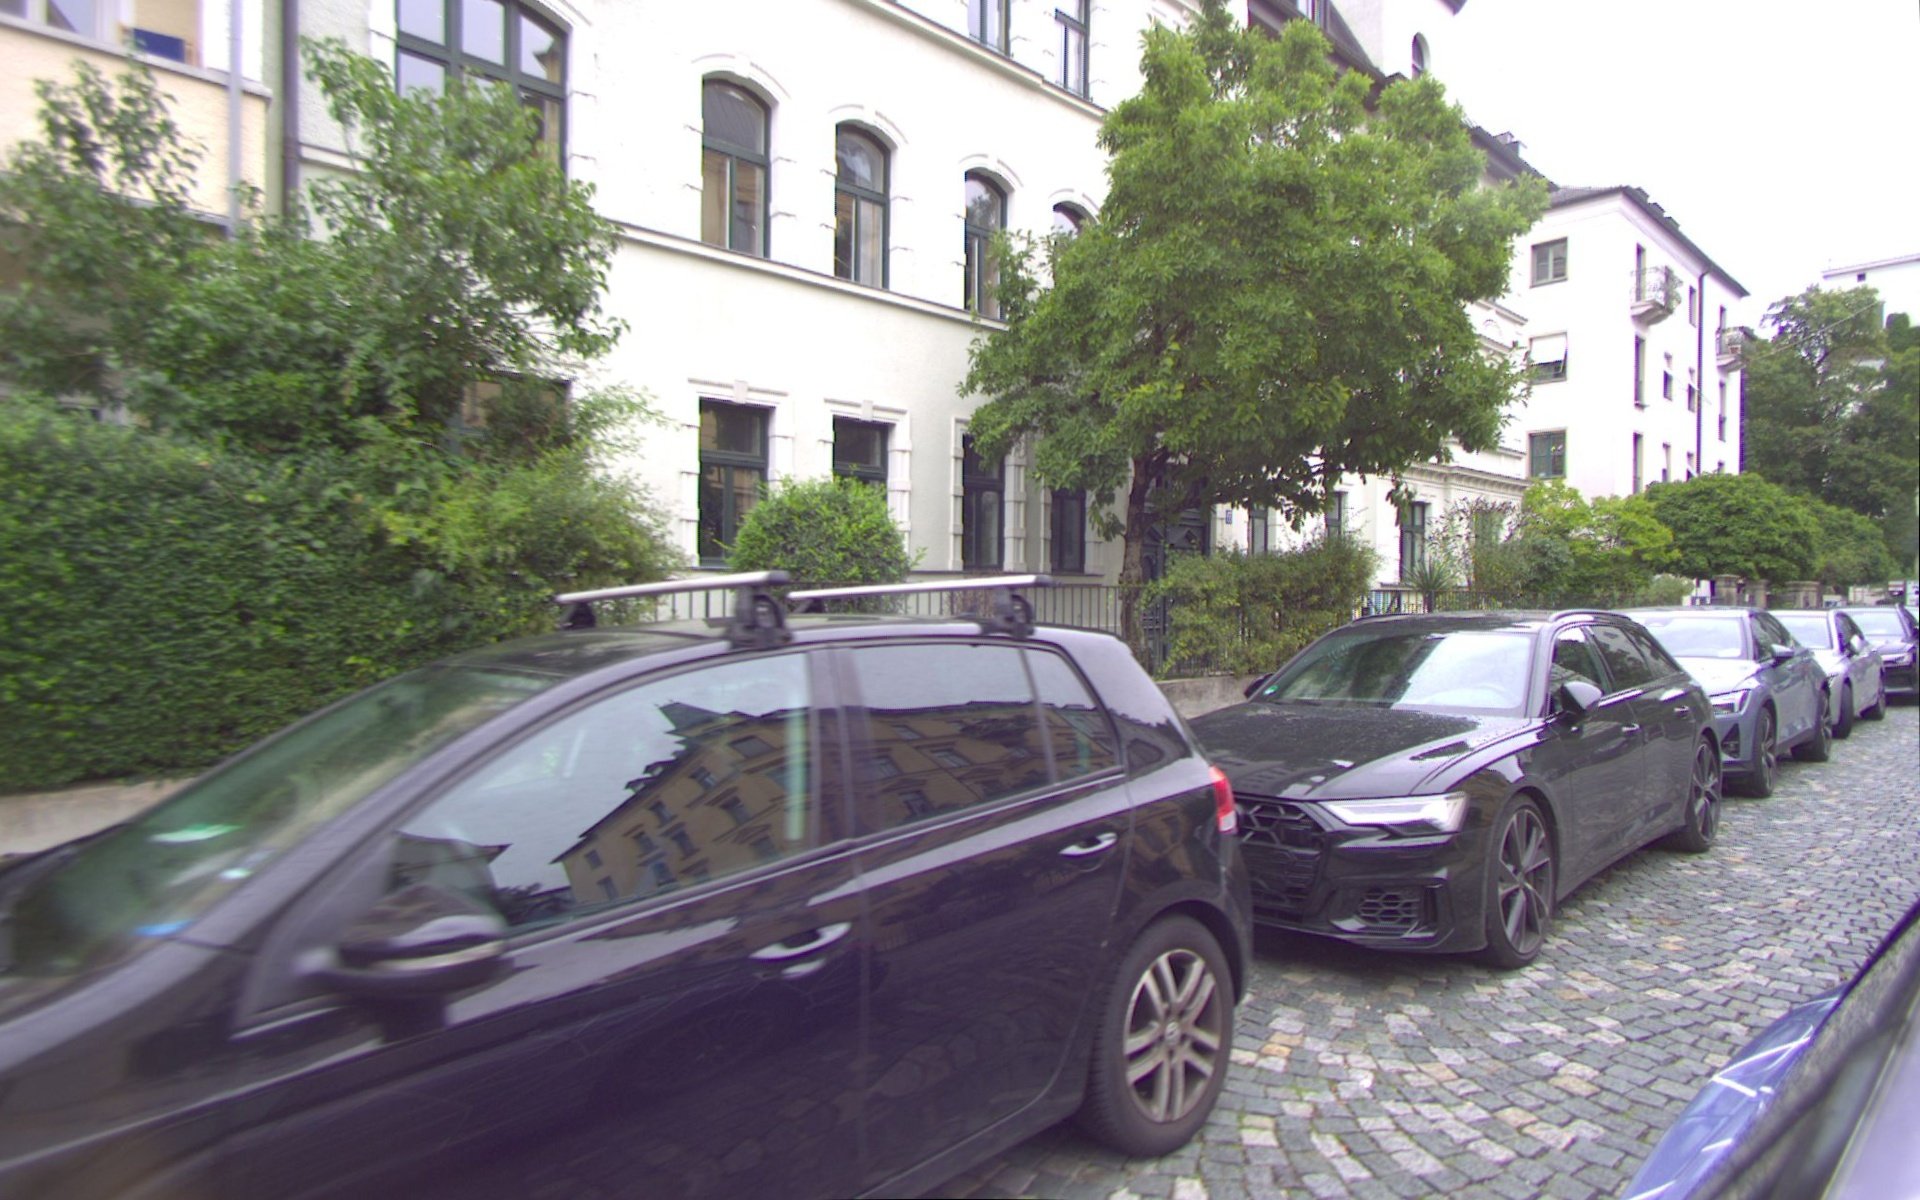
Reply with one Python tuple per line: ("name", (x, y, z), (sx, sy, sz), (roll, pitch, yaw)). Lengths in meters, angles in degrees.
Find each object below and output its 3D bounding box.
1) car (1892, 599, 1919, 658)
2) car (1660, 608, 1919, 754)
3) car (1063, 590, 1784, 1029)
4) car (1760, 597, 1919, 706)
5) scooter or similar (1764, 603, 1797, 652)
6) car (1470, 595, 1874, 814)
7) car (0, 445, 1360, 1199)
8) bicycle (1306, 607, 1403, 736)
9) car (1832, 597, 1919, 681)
("car", (25.990, 0.692, 26.314), (4.450, 1.484, 1.941), (0, -1, -39))
("car", (10.517, 0.886, 12.702), (4.401, 1.478, 1.758), (0, -2, -41))
("car", (2.980, 0.742, 5.813), (4.961, 1.508, 1.821), (0, -2, -41))
("car", (14.737, 0.734, 16.325), (5.016, 1.522, 1.907), (0, -2, -41))
("scooter or similar", (22.450, 0.740, 27.686), (1.447, 1.230, 0.443), (-1, 6, -44))
("car", (6.674, 0.744, 9.257), (4.729, 1.508, 1.885), (0, -2, -41))
("car", (-0.940, 0.671, 2.532), (4.219, 1.675, 1.896), (0, -1, -42))
("bicycle", (4.080, 0.679, 10.398), (0.578, 1.210, 1.628), (0, 0, 34))
("car", (18.548, 0.711, 19.849), (3.622, 1.528, 1.669), (0, -2, -42))
